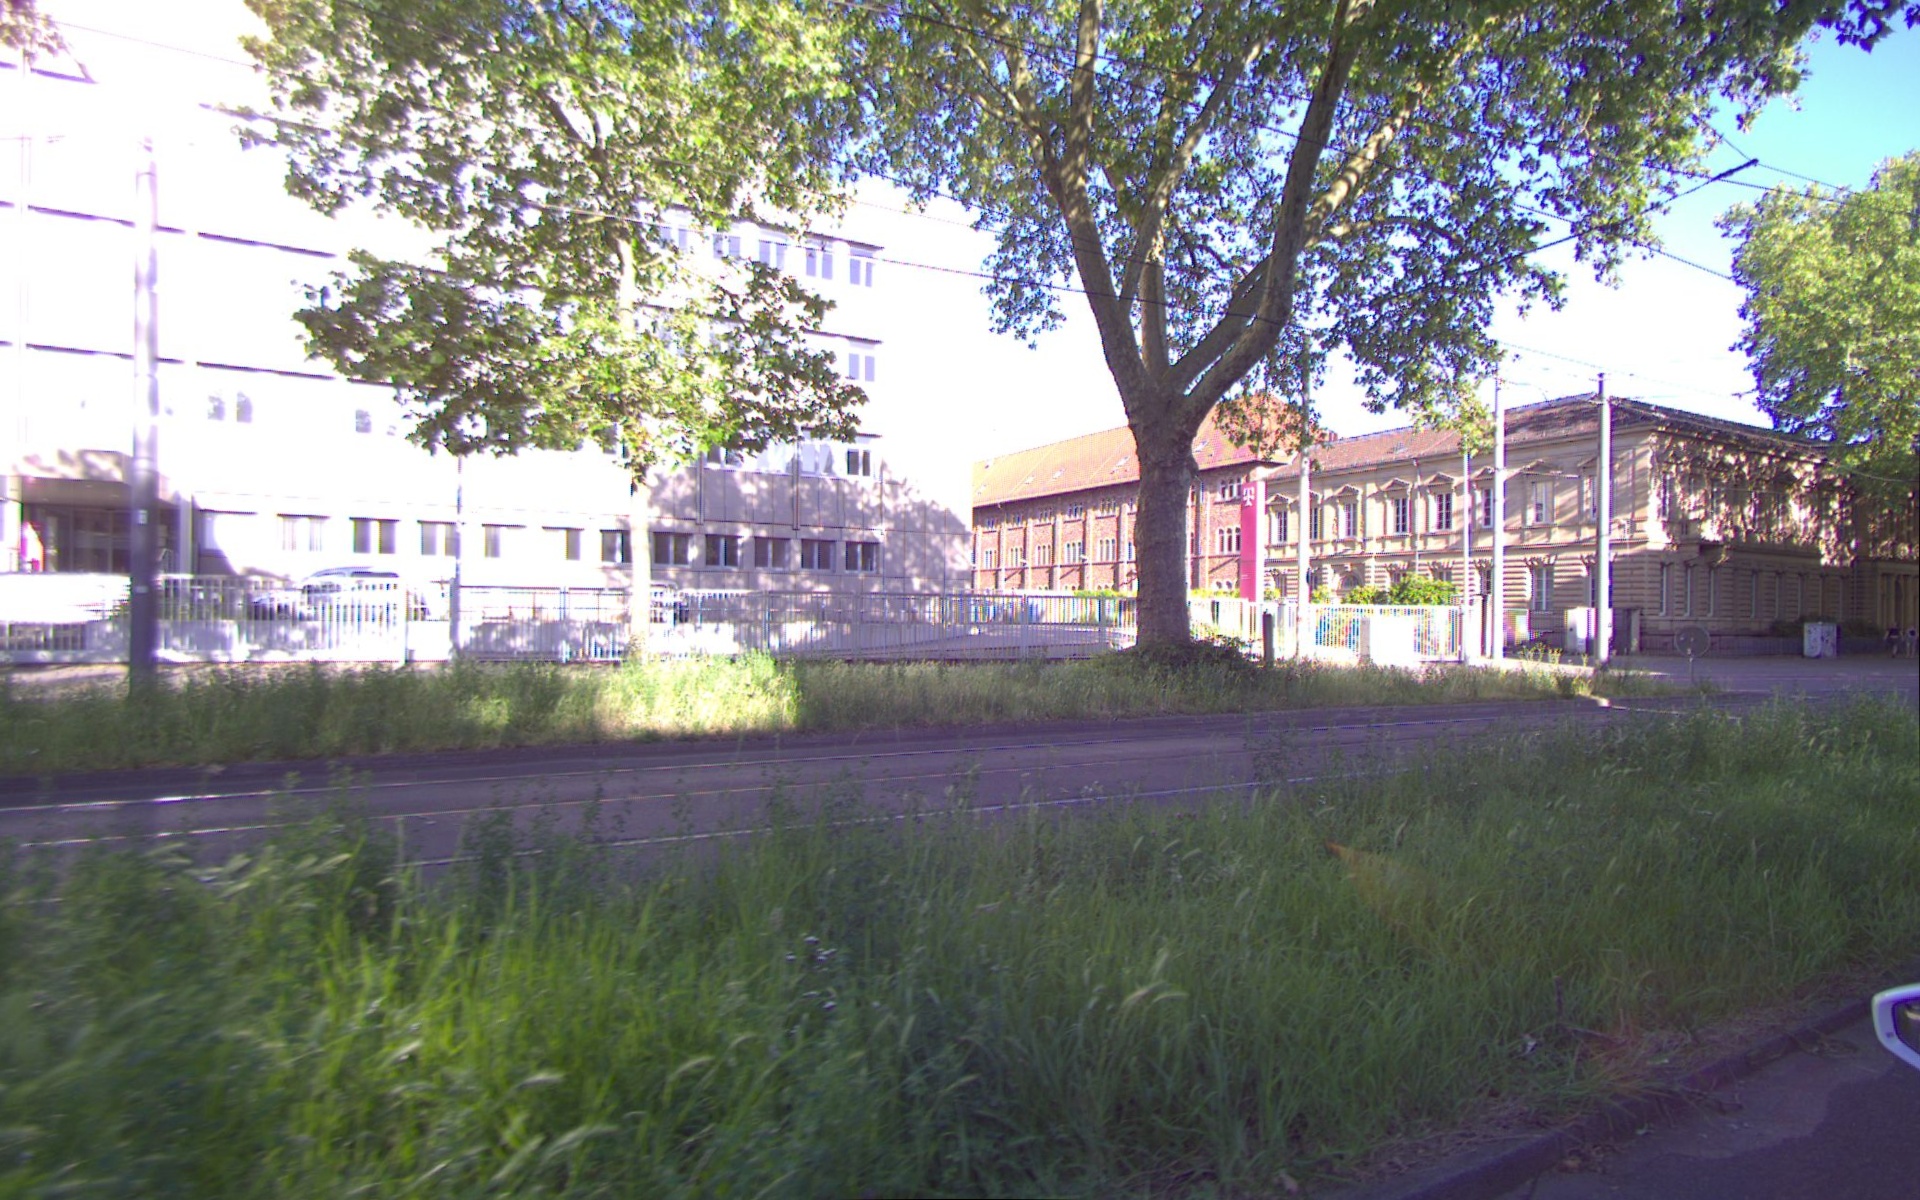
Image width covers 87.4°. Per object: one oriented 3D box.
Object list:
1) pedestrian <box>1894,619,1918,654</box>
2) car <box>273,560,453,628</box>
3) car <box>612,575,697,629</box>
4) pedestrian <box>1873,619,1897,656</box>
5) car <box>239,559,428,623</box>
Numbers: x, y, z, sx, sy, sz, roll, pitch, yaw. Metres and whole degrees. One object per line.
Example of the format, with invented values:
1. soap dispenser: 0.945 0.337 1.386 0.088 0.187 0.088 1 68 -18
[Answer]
1. pedestrian: 45.433 1.763 48.236 0.608 1.644 0.655 1 2 -30
2. car: -18.642 -0.148 31.667 4.660 2.040 1.988 1 -1 -25
3. car: -12.451 0.115 40.760 1.980 2.040 4.708 1 -1 -35
4. pedestrian: 44.881 1.828 48.735 0.589 1.757 0.615 1 2 -30
5. car: -17.745 -0.209 28.728 4.318 1.726 1.988 1 -1 -25
